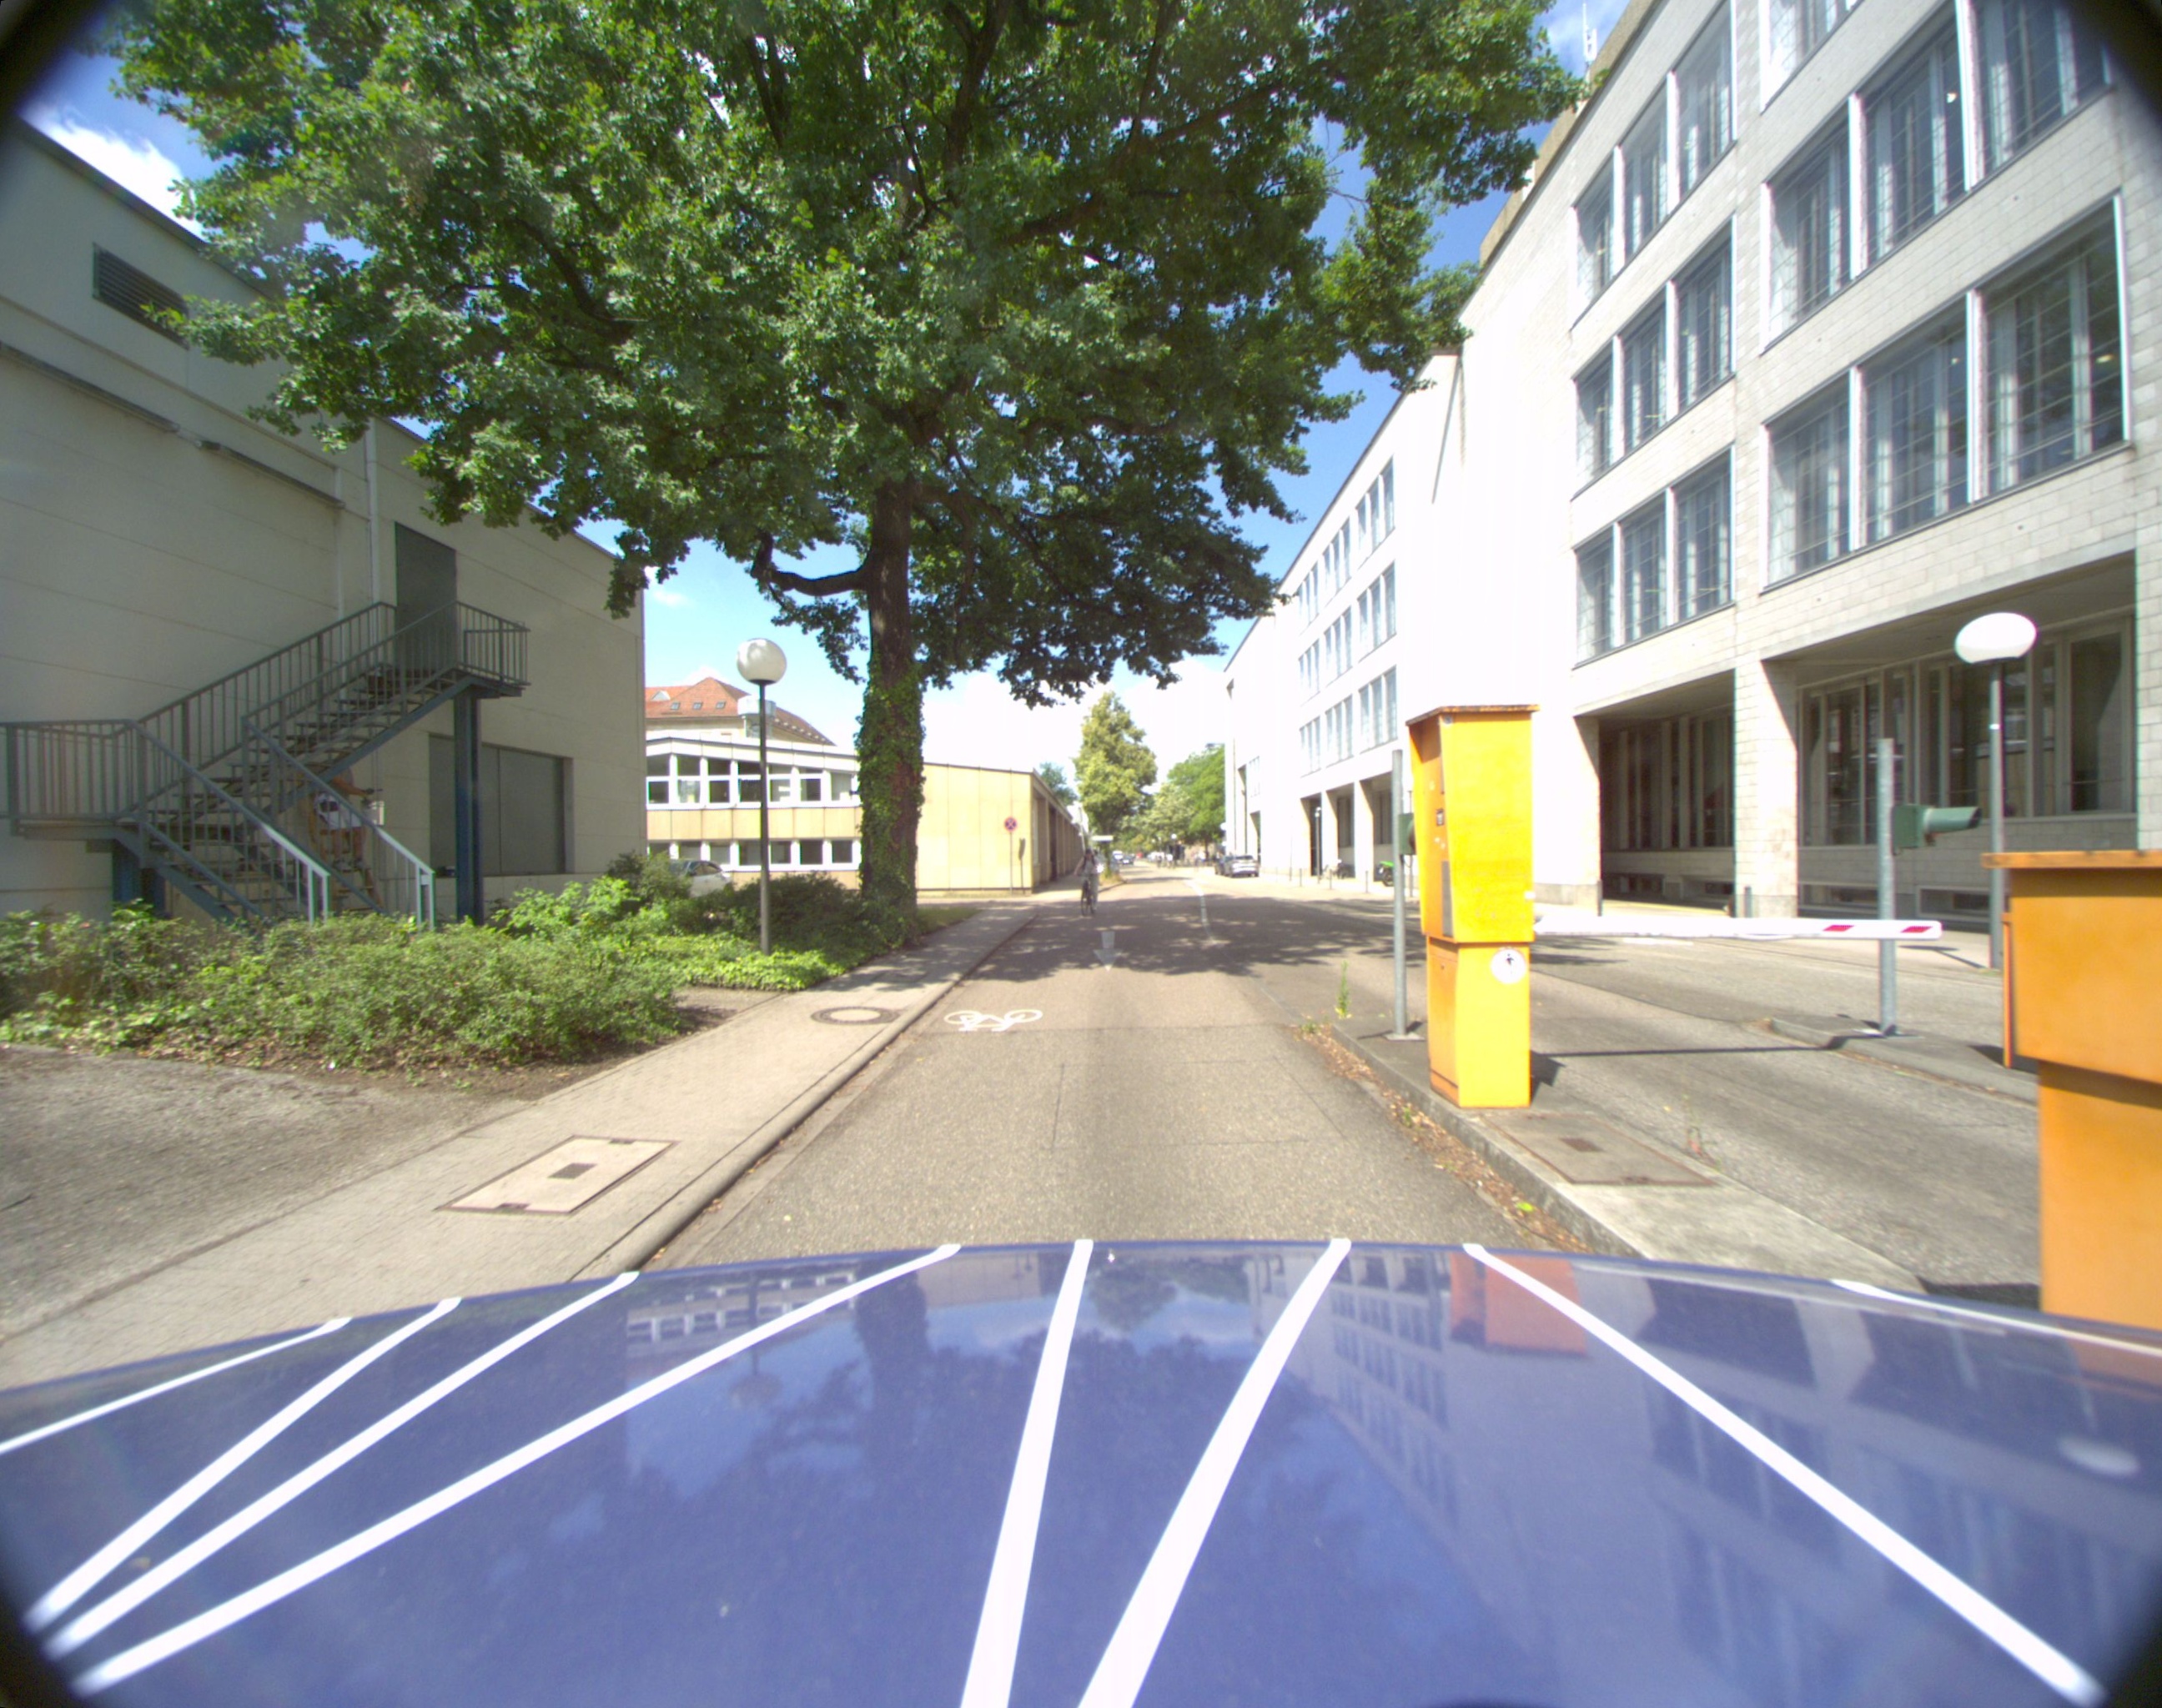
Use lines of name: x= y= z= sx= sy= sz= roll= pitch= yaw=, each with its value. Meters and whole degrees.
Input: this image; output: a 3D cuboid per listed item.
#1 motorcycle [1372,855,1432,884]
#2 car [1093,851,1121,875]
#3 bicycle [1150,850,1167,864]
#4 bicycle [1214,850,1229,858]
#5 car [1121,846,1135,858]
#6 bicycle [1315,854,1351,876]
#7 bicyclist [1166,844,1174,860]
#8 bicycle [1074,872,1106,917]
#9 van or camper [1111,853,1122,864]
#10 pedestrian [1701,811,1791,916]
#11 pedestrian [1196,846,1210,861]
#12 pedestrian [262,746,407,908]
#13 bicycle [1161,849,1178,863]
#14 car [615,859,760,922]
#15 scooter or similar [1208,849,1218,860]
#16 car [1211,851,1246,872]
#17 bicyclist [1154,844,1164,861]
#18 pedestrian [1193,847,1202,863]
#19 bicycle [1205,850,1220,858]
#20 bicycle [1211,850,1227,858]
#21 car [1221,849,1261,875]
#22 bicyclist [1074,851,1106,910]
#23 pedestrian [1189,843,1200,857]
motorcycle: x=13.015 y=0.624 z=30.825 sx=2.172 sy=1.131 sz=0.774 roll=-1 pitch=1 yaw=-8
car: x=1.717 y=0.576 z=50.484 sx=1.760 sy=1.559 sz=3.817 roll=0 pitch=0 yaw=1
bicycle: x=8.572 y=0.293 z=83.749 sx=0.799 sy=1.485 sz=2.057 roll=-2 pitch=1 yaw=-29
bicycle: x=19.617 y=-0.041 z=105.918 sx=2.127 sy=1.052 sz=0.681 roll=-2 pitch=1 yaw=-28
car: x=6.921 y=-0.298 z=112.546 sx=1.998 sy=1.805 sz=4.001 roll=-1 pitch=0 yaw=3
bicycle: x=13.248 y=0.588 z=39.985 sx=1.643 sy=1.080 sz=0.608 roll=-2 pitch=1 yaw=-4
bicyclist: x=9.962 y=-0.177 z=85.002 sx=0.611 sy=1.754 sz=0.695 roll=-3 pitch=2 yaw=-44
bicycle: x=0.223 y=1.029 z=19.796 sx=0.781 sy=1.042 sz=1.913 roll=-1 pitch=0 yaw=0
van or camper: x=7.859 y=0.903 z=167.196 sx=1.997 sy=2.348 sz=4.385 roll=-1 pitch=0 yaw=8
pedestrian: x=13.191 y=0.181 z=15.101 sx=0.850 sy=2.002 sz=1.066 roll=-1 pitch=1 yaw=0
pedestrian: x=15.011 y=-0.036 z=93.510 sx=1.400 sy=1.813 sz=1.369 roll=-2 pitch=1 yaw=1
pedestrian: x=-9.738 y=-0.333 z=9.956 sx=0.929 sy=2.002 sz=0.950 roll=0 pitch=1 yaw=5
bicycle: x=9.917 y=0.222 z=85.055 sx=0.641 sy=1.485 sz=1.930 roll=-3 pitch=1 yaw=-43
car: x=-10.562 y=0.918 z=20.774 sx=1.671 sy=1.468 sz=4.182 roll=-1 pitch=0 yaw=2
scooter or similar: x=15.238 y=0.046 z=87.450 sx=0.713 sy=1.184 sz=1.617 roll=-1 pitch=2 yaw=24
car: x=10.590 y=0.479 z=54.689 sx=1.730 sy=1.414 sz=4.665 roll=-1 pitch=0 yaw=2
bicyclist: x=8.612 y=-0.154 z=83.600 sx=0.763 sy=1.766 sz=0.731 roll=-2 pitch=1 yaw=-30
pedestrian: x=13.110 y=0.103 z=85.389 sx=0.760 sy=1.715 sz=1.236 roll=-4 pitch=1 yaw=13
bicycle: x=18.667 y=-0.013 z=107.850 sx=2.127 sy=1.052 sz=0.621 roll=-2 pitch=1 yaw=-28
bicycle: x=19.372 y=-0.027 z=106.666 sx=2.127 sy=1.052 sz=0.621 roll=-2 pitch=1 yaw=-28
car: x=10.319 y=0.486 z=49.287 sx=1.730 sy=1.526 sz=4.405 roll=-3 pitch=1 yaw=2
bicyclist: x=0.228 y=0.657 z=19.474 sx=0.781 sy=1.478 sz=0.695 roll=-1 pitch=1 yaw=0
pedestrian: x=16.822 y=-0.553 z=112.204 sx=1.400 sy=2.002 sz=1.369 roll=-2 pitch=1 yaw=1
